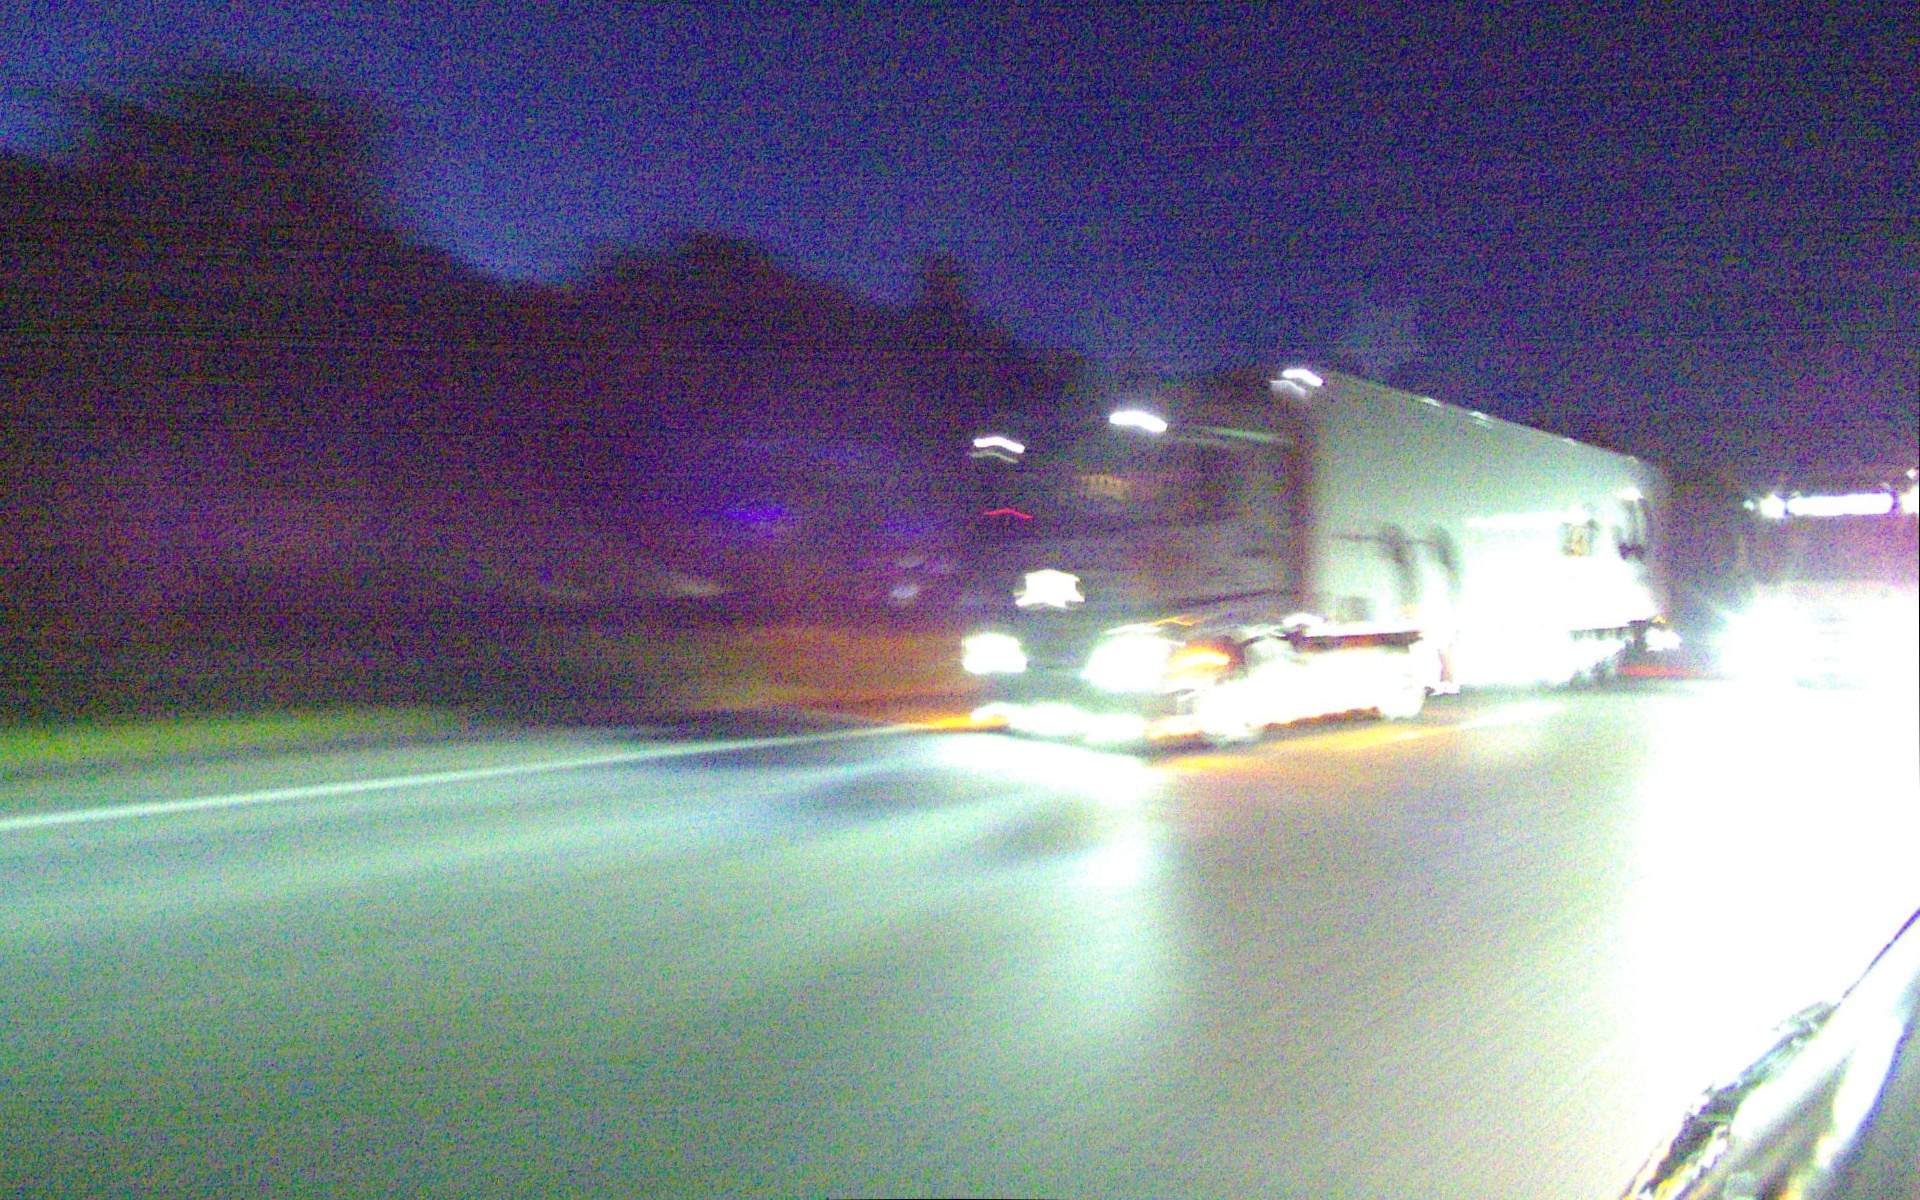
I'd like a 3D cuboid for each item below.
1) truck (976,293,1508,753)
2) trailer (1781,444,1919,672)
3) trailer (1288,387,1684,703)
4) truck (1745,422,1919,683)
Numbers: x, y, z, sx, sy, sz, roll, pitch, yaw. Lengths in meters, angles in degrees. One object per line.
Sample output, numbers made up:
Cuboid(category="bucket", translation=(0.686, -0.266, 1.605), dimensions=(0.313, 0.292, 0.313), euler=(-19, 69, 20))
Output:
Cuboid(category="truck", translation=(3.869, -0.707, 12.527), dimensions=(7.539, 4.124, 2.595), euler=(0, 0, -41))
Cuboid(category="trailer", translation=(22.475, -0.806, 23.680), dimensions=(13.273, 4.260, 2.747), euler=(0, 0, -41))
Cuboid(category="trailer", translation=(9.493, -0.739, 17.434), dimensions=(9.833, 4.124, 2.595), euler=(0, 0, -41))
Cuboid(category="truck", translation=(17.575, -0.784, 19.446), dimensions=(6.604, 4.260, 2.666), euler=(0, 0, -41))
